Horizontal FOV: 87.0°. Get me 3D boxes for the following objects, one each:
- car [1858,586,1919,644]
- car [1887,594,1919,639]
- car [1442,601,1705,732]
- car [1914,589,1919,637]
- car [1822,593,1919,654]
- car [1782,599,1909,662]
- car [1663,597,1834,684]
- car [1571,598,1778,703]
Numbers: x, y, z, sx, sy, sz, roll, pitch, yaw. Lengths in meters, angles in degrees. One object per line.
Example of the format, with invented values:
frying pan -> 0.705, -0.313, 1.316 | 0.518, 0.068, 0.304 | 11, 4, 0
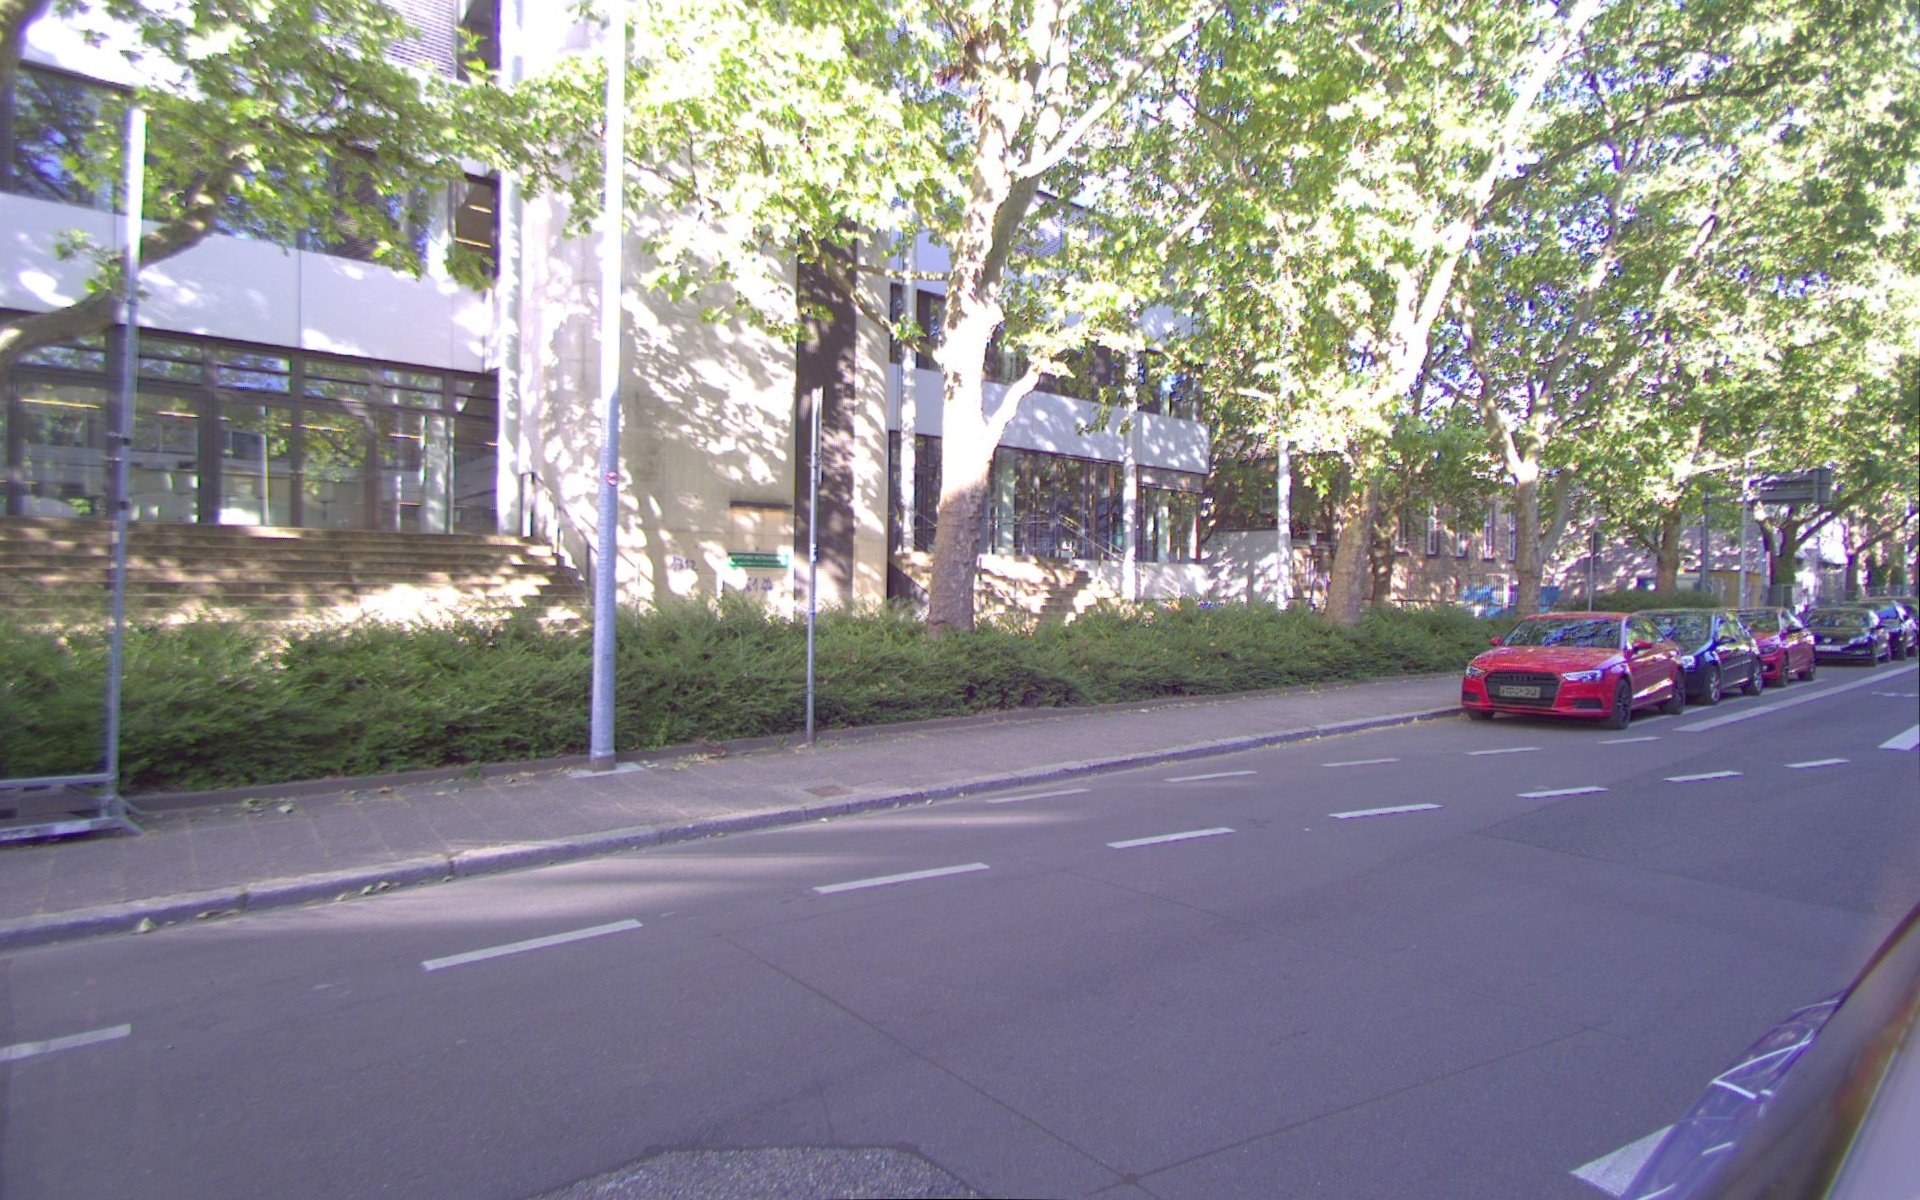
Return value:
car -> 31.279, 0.451, 33.306 | 4.493, 1.809, 1.997 | -1, 0, -41
car -> 35.970, 0.580, 37.440 | 4.070, 1.585, 1.997 | -1, 0, -41
car -> 8.271, 0.753, 13.519 | 3.930, 1.443, 1.906 | -1, 0, -41
car -> 39.647, 0.486, 40.313 | 3.930, 1.872, 1.997 | -1, 0, -41
car -> 26.538, 0.610, 29.176 | 4.070, 1.621, 1.997 | -1, 0, -41
car -> 22.814, 0.725, 26.056 | 3.527, 1.474, 1.997 | -1, 0, -41
car -> 15.660, 0.719, 20.047 | 3.762, 1.517, 1.997 | -1, 0, -41
car -> 11.804, 0.730, 16.656 | 3.581, 1.478, 1.997 | -1, 0, -41
